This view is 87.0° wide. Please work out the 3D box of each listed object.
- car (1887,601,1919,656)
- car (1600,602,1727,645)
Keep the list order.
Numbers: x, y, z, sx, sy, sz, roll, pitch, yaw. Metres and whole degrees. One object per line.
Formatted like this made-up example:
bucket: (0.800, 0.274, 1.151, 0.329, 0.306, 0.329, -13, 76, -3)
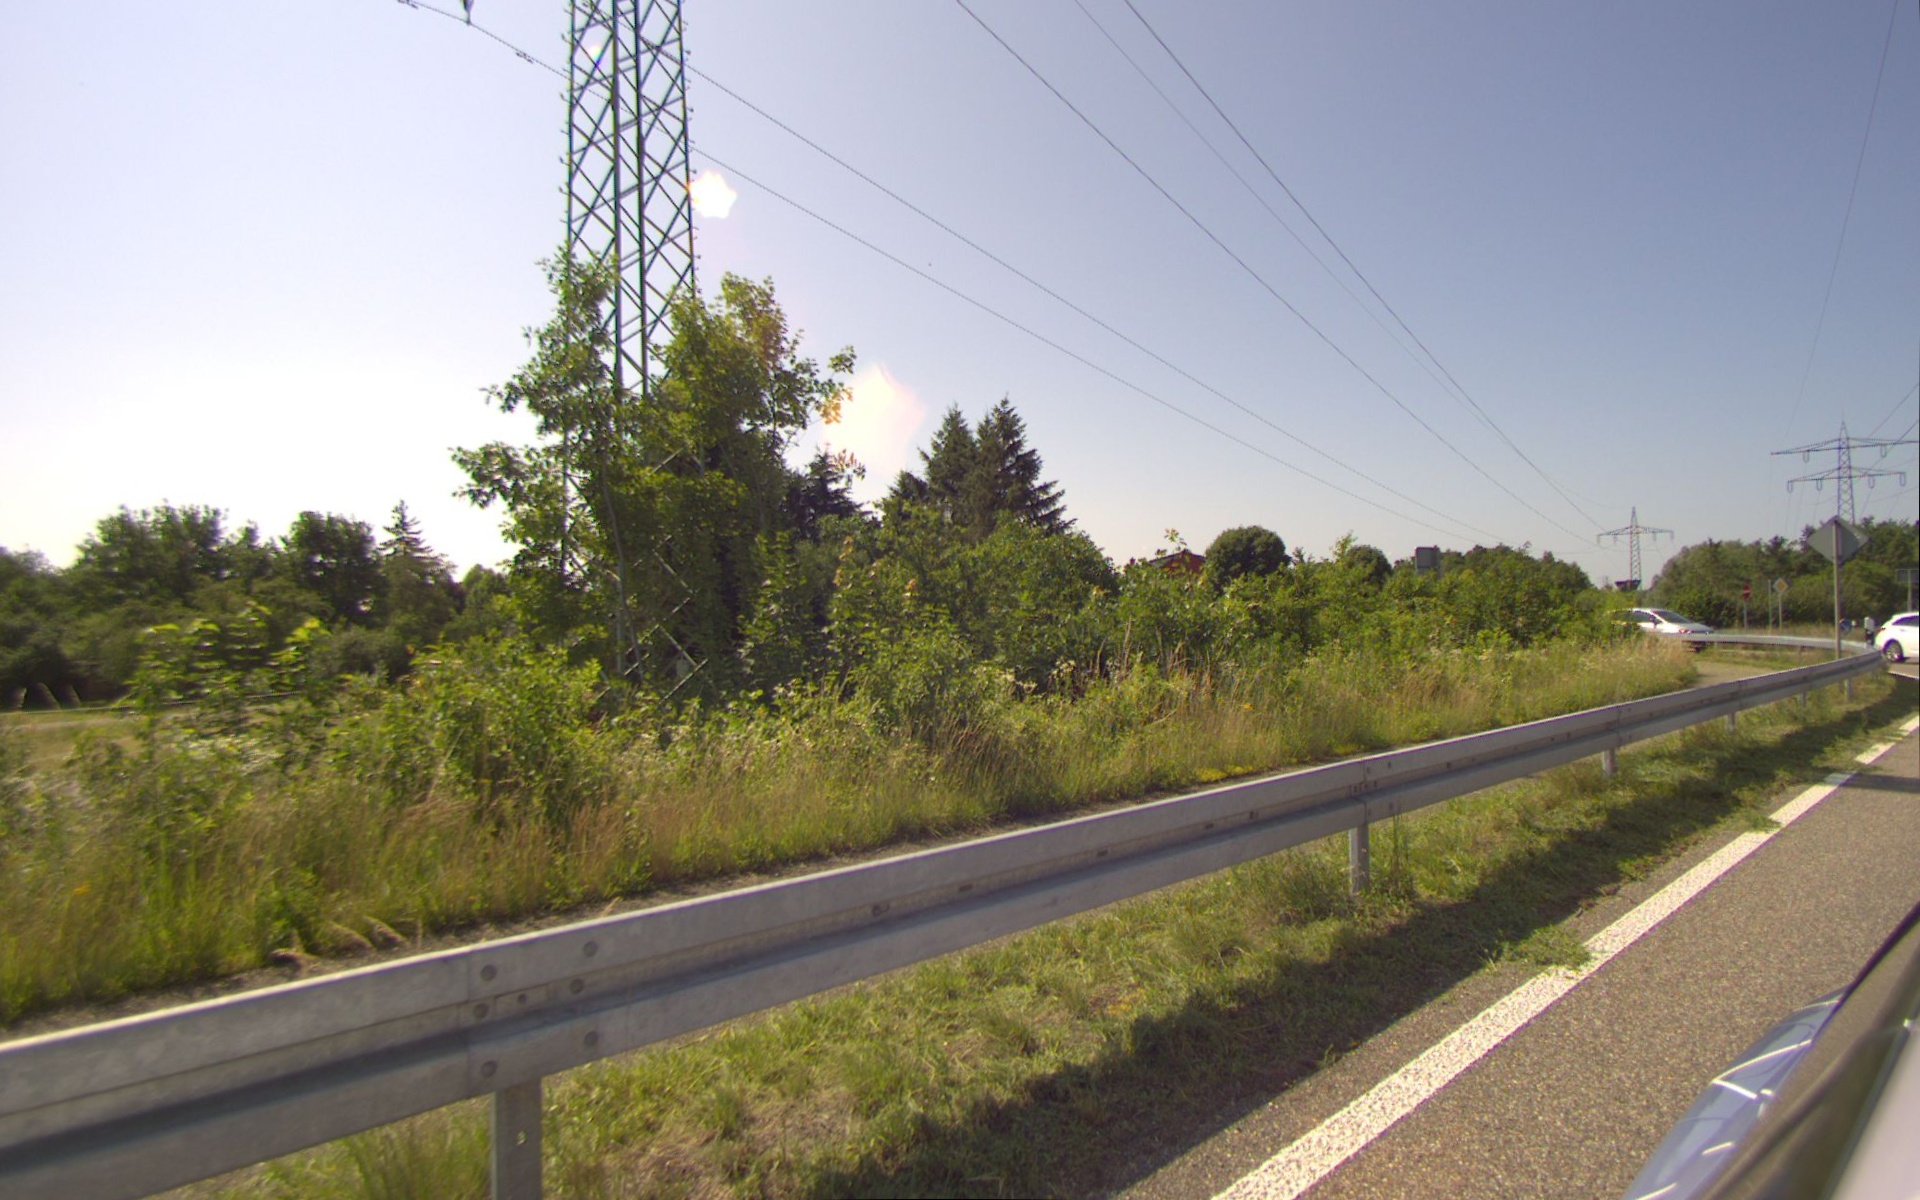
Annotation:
car: (27.229, 0.801, 26.951, 1.658, 1.499, 4.458, 0, 0, 11)
car: (26.011, 0.826, 37.558, 1.517, 1.487, 3.668, 1, 0, -20)
